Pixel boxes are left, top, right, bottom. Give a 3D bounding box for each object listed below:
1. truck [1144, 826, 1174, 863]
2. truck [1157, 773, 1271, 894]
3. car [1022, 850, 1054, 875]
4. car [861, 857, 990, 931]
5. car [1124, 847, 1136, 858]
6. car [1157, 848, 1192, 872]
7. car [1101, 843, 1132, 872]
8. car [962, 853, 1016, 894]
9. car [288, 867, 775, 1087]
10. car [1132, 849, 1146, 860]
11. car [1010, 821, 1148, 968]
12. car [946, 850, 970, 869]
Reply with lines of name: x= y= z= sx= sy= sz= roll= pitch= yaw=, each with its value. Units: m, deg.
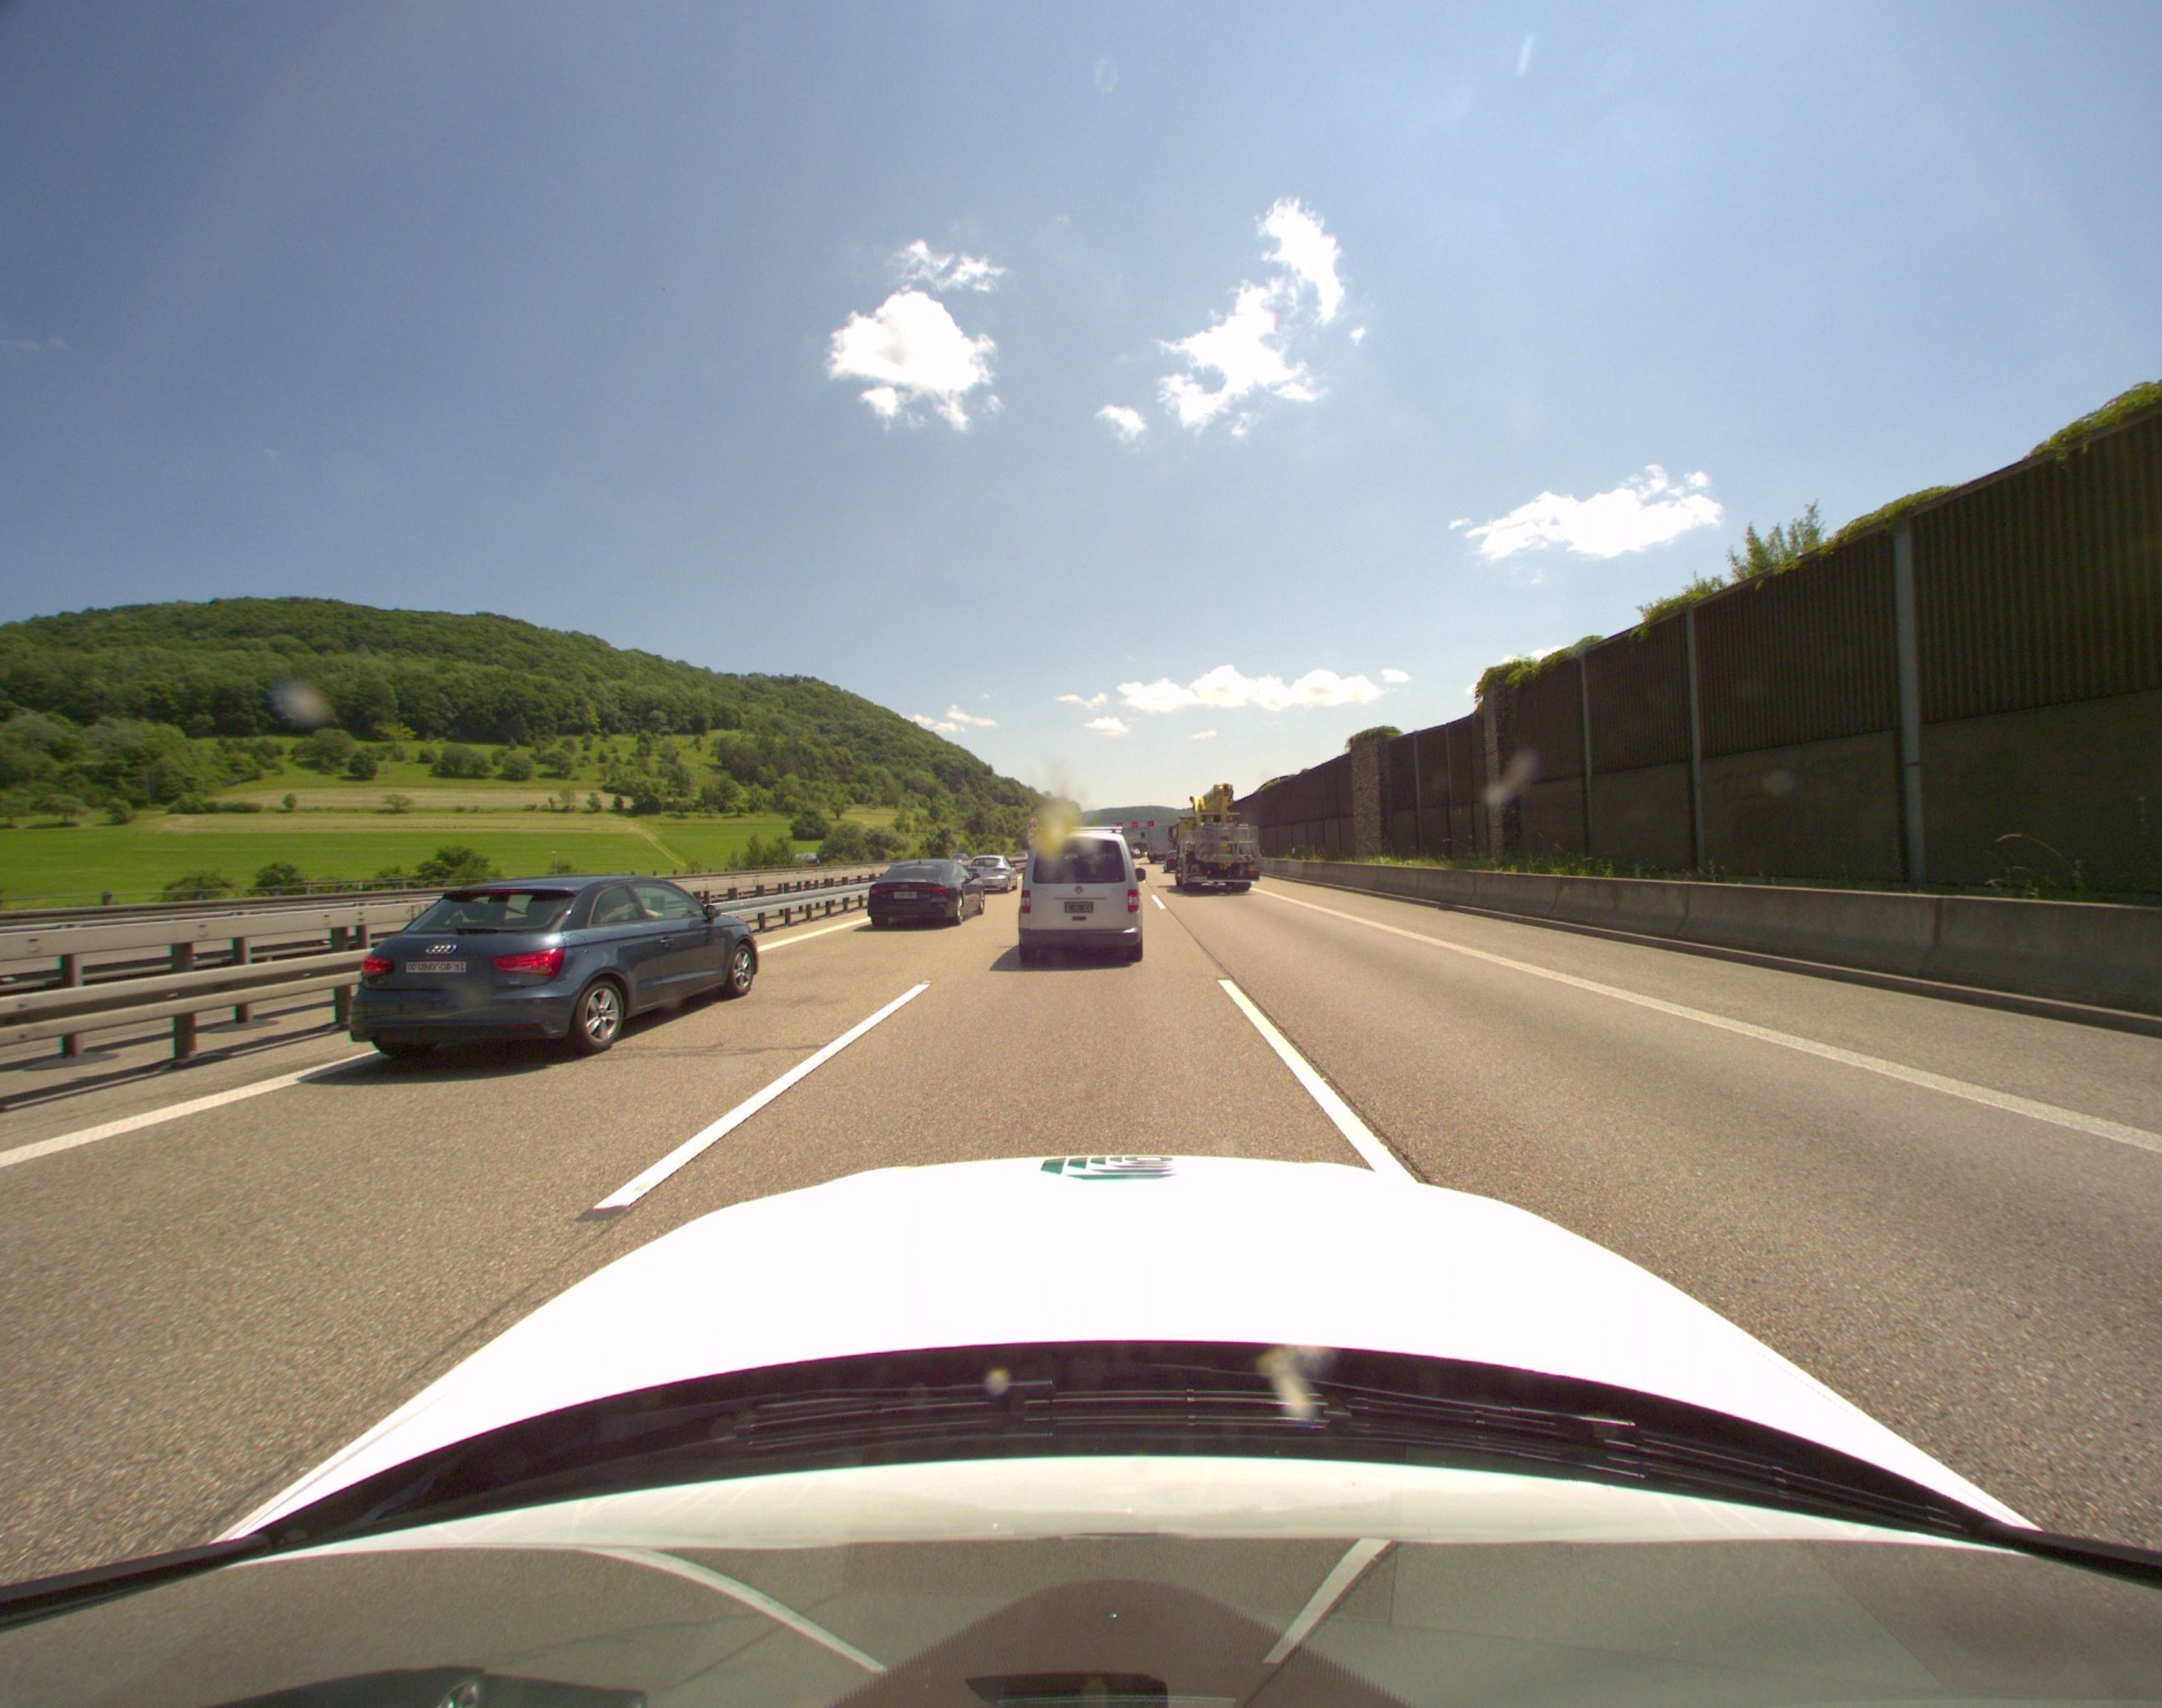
truck: x=8.482 y=-0.989 z=89.377 sx=2.928 sy=3.823 sz=8.241 roll=-1 pitch=0 yaw=3
truck: x=4.809 y=-0.696 z=31.343 sx=2.696 sy=3.942 sz=8.716 roll=-1 pitch=0 yaw=-1
car: x=-2.701 y=0.502 z=51.871 sx=1.919 sy=1.499 sz=3.998 roll=-1 pitch=0 yaw=-2
car: x=-3.382 y=0.800 z=18.726 sx=1.794 sy=1.390 sz=4.972 roll=-1 pitch=0 yaw=2
car: x=8.398 y=-0.256 z=140.653 sx=1.986 sy=1.749 sz=4.001 roll=-1 pitch=0 yaw=1
car: x=6.182 y=0.378 z=54.180 sx=1.781 sy=1.458 sz=3.768 roll=-1 pitch=0 yaw=-2
car: x=2.563 y=0.230 z=59.460 sx=1.988 sy=1.975 sz=3.998 roll=-1 pitch=0 yaw=-2
car: x=-3.531 y=0.715 z=31.900 sx=1.691 sy=1.445 sz=3.860 roll=-1 pitch=0 yaw=-1
car: x=-4.525 y=0.876 z=7.586 sx=1.682 sy=1.388 sz=4.002 roll=-1 pitch=0 yaw=2
car: x=10.470 y=0.126 z=148.065 sx=2.109 sy=1.827 sz=3.997 roll=-1 pitch=0 yaw=-2
car: x=-0.070 y=0.521 z=12.623 sx=1.751 sy=1.867 sz=3.998 roll=-1 pitch=0 yaw=-2
car: x=-13.884 y=0.615 z=92.002 sx=1.986 sy=2.013 sz=4.001 roll=-1 pitch=0 yaw=1
